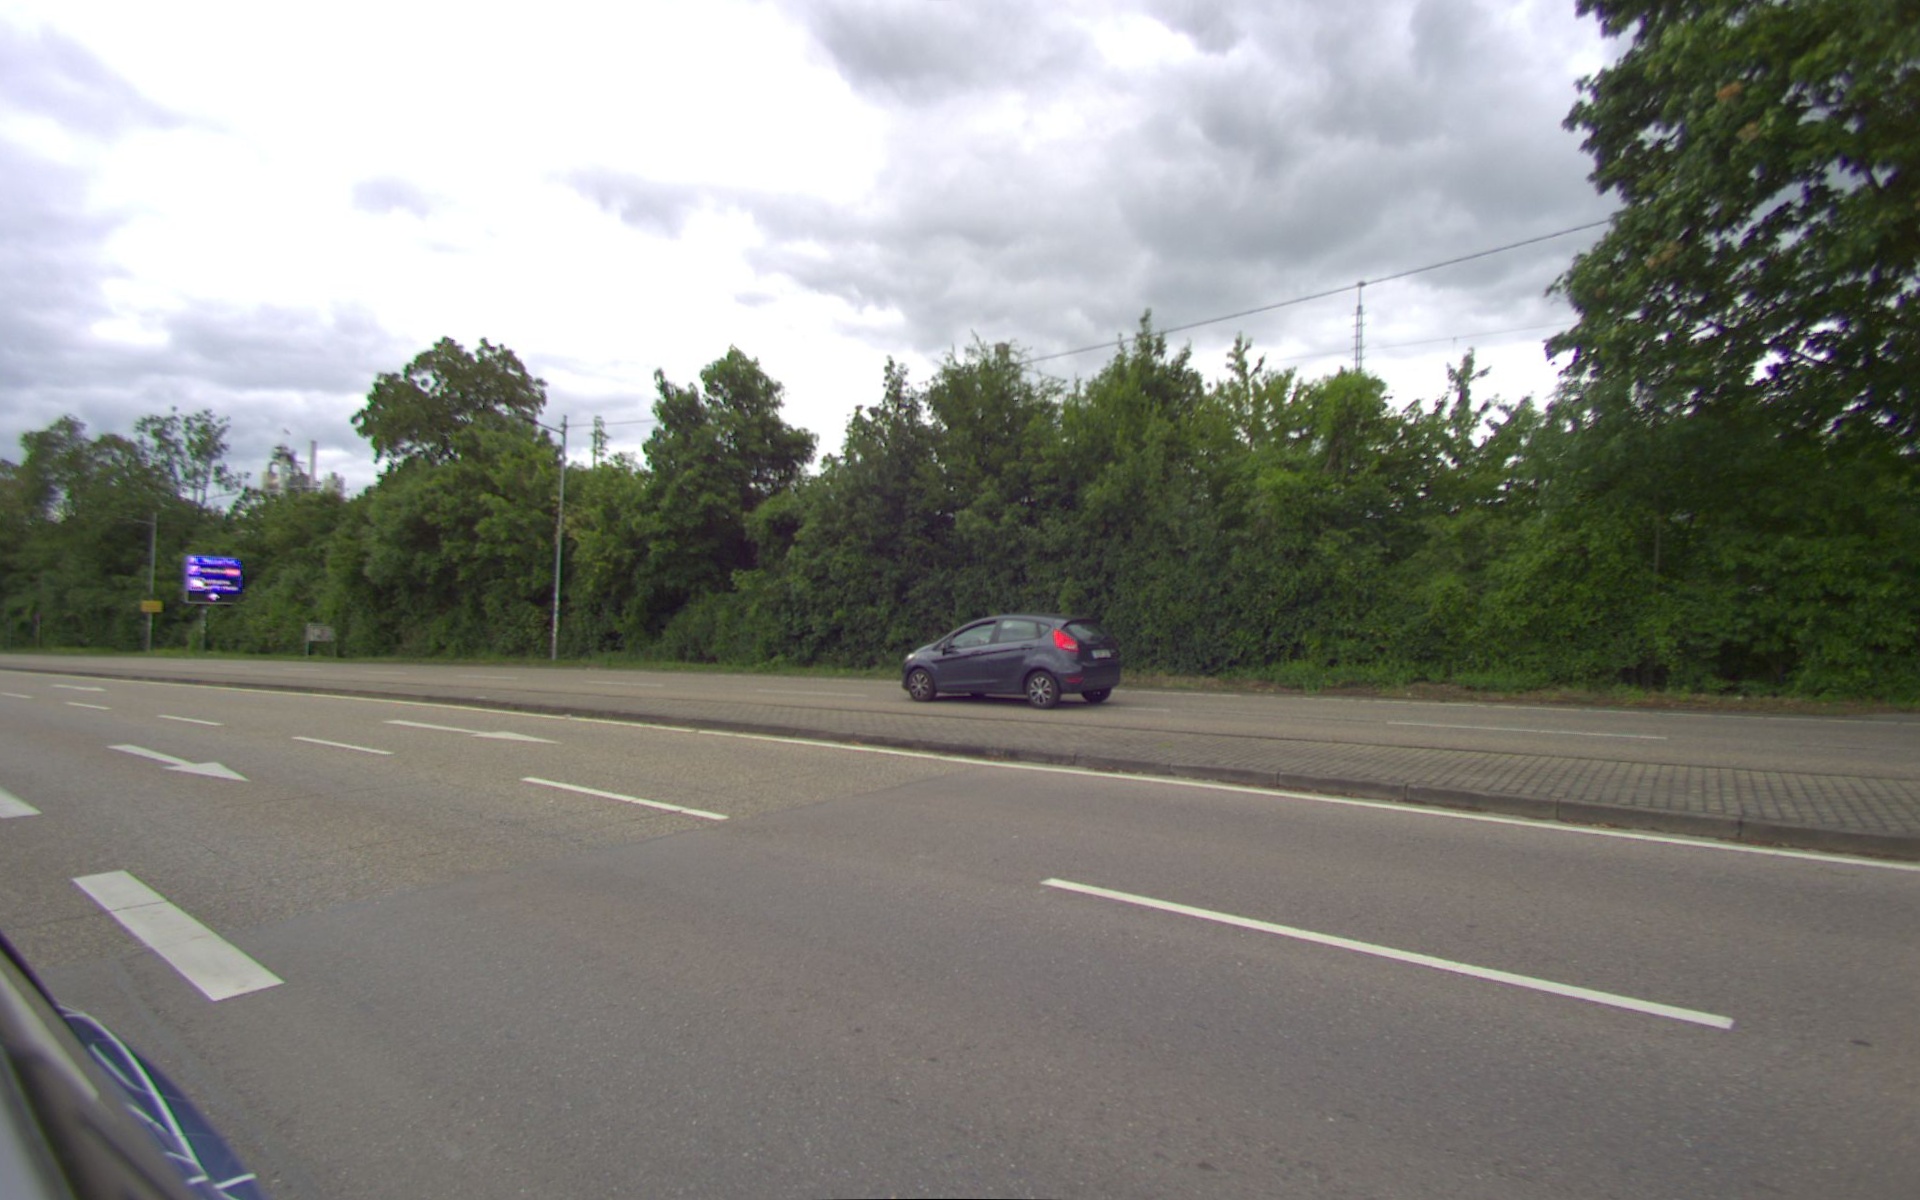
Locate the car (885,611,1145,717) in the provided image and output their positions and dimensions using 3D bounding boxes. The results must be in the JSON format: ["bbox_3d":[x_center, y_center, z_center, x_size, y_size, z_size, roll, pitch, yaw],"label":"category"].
[{"bbox_3d":[0.816,0.964,16.456,3.997,1.475,1.682,-1,0,40],"label":"car"}]
